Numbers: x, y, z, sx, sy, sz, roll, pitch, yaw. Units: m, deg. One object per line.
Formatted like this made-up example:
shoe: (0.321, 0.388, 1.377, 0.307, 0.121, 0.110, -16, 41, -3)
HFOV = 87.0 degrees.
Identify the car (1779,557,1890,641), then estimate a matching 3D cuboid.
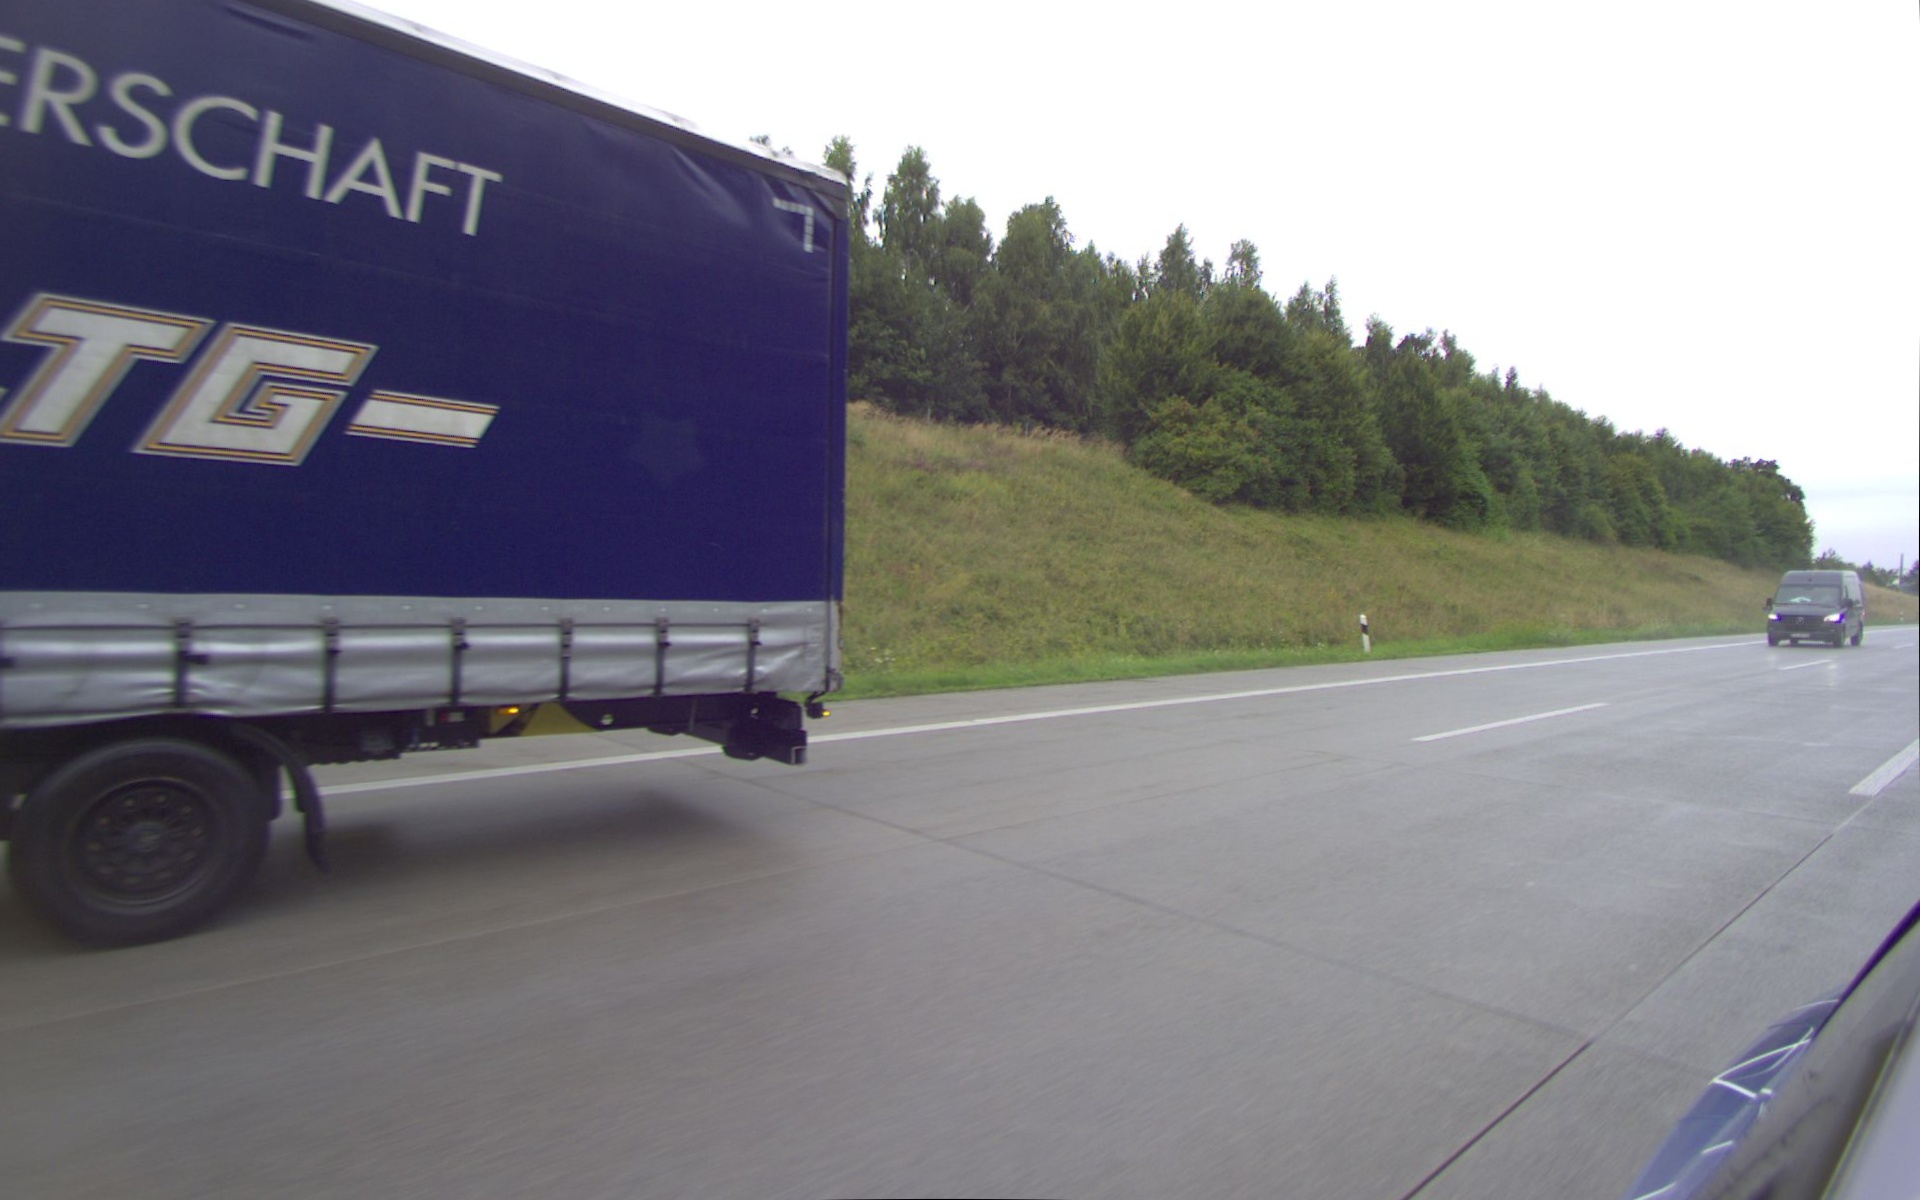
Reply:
car: (30.578, -0.007, 35.307, 6.468, 2.693, 1.945, 1, -1, -40)

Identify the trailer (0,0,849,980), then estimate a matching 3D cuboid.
trailer: (-7.180, -0.844, 2.234, 14.938, 4.435, 2.711, 0, 0, -41)
